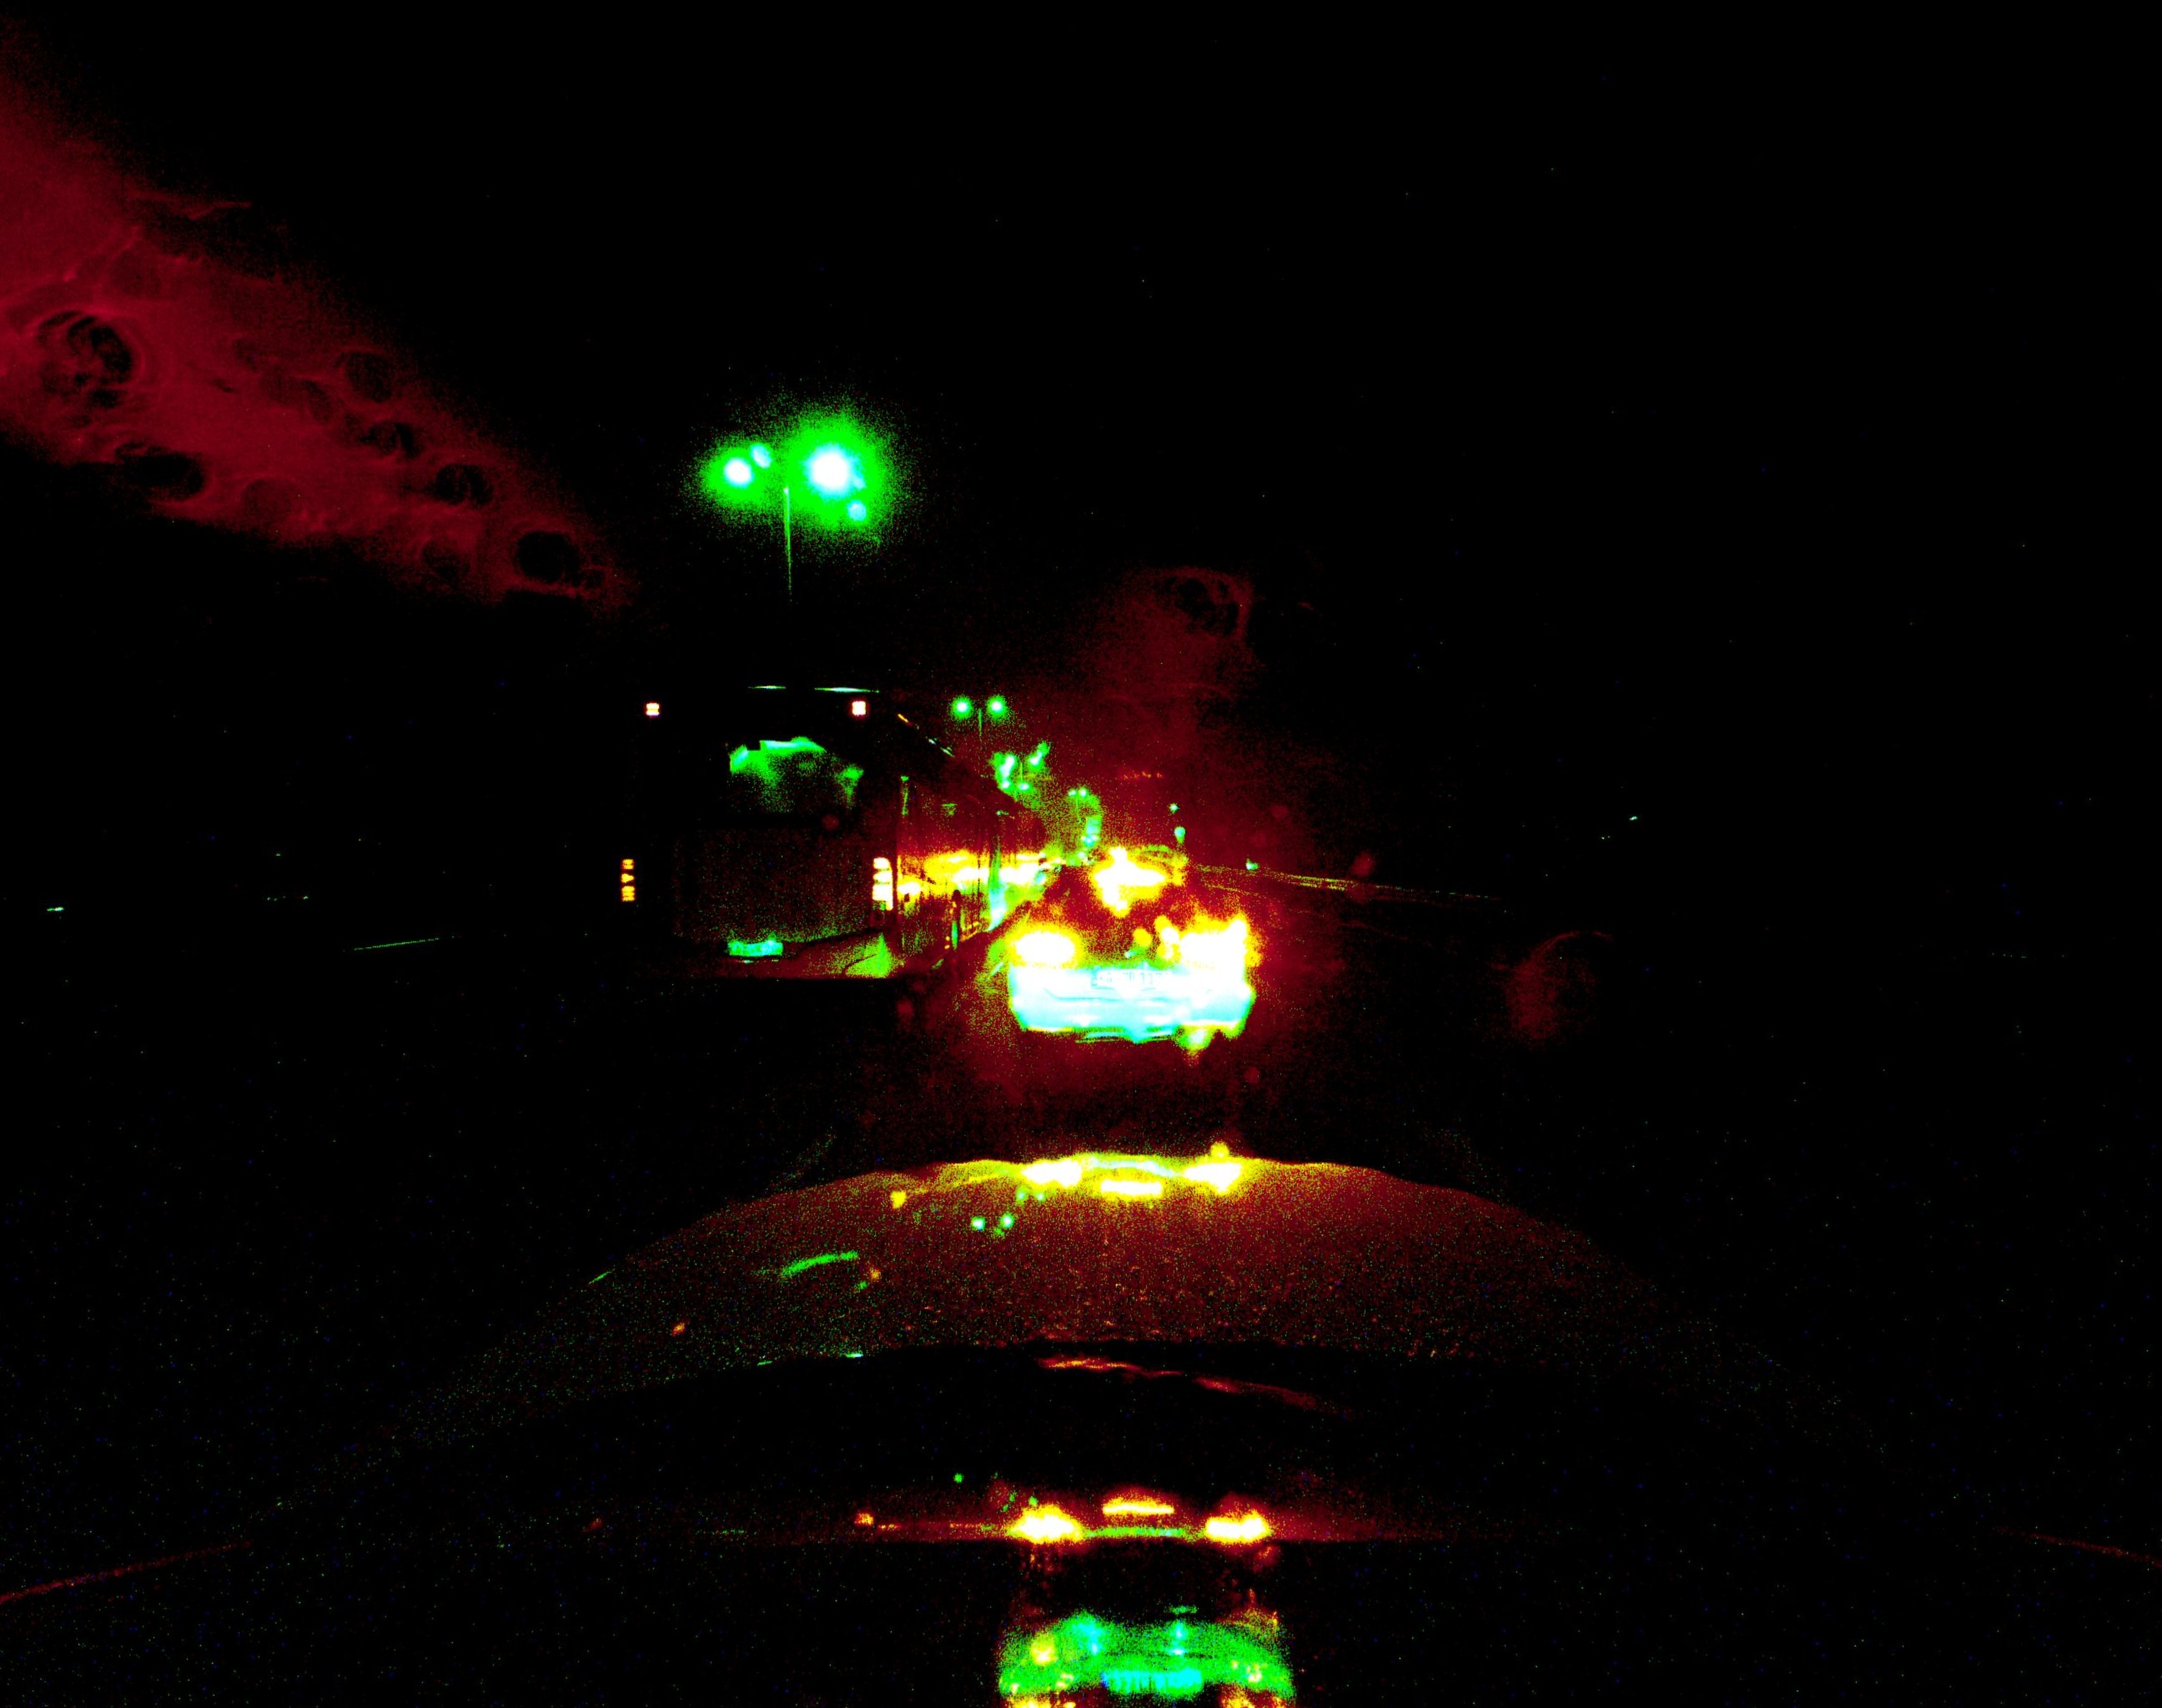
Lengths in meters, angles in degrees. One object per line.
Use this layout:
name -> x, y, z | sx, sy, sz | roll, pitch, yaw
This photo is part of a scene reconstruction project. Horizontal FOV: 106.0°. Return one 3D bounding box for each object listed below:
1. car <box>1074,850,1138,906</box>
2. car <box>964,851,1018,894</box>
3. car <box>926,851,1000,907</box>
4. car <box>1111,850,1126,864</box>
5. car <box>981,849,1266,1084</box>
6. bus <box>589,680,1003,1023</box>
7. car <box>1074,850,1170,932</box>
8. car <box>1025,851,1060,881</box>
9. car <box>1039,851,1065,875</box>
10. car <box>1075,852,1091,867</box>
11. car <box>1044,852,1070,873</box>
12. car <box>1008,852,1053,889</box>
car -> 0.701, 0.687, 25.075 | 1.735, 1.565, 3.774 | -1, 0, -2
car -> -3.449, 0.688, 31.923 | 1.775, 1.543, 3.872 | -1, 0, -2
car -> -3.525, 0.699, 24.908 | 1.775, 1.543, 3.872 | -1, 0, -2
car -> 5.056, 0.398, 110.067 | 1.945, 1.882, 4.001 | 0, -1, 2
car -> 0.296, 0.720, 7.533 | 1.815, 1.484, 4.568 | -1, 0, 0
bus -> -2.968, -0.035, 11.635 | 2.806, 3.024, 8.686 | -1, 0, 0
car -> 0.737, 0.665, 17.128 | 1.726, 1.449, 4.724 | -1, 0, 0
car -> -2.123, 0.645, 45.738 | 1.774, 1.543, 3.874 | -1, 0, 0
car -> -2.006, 0.606, 56.870 | 1.775, 1.543, 3.872 | -1, 0, -2
car -> 0.279, 0.701, 103.789 | 1.810, 1.797, 3.804 | 0, -1, 2
car -> -1.867, 0.613, 63.541 | 1.773, 1.543, 3.876 | -1, 0, 1
car -> -2.192, 0.698, 36.185 | 1.774, 1.543, 3.873 | -1, 0, -1
